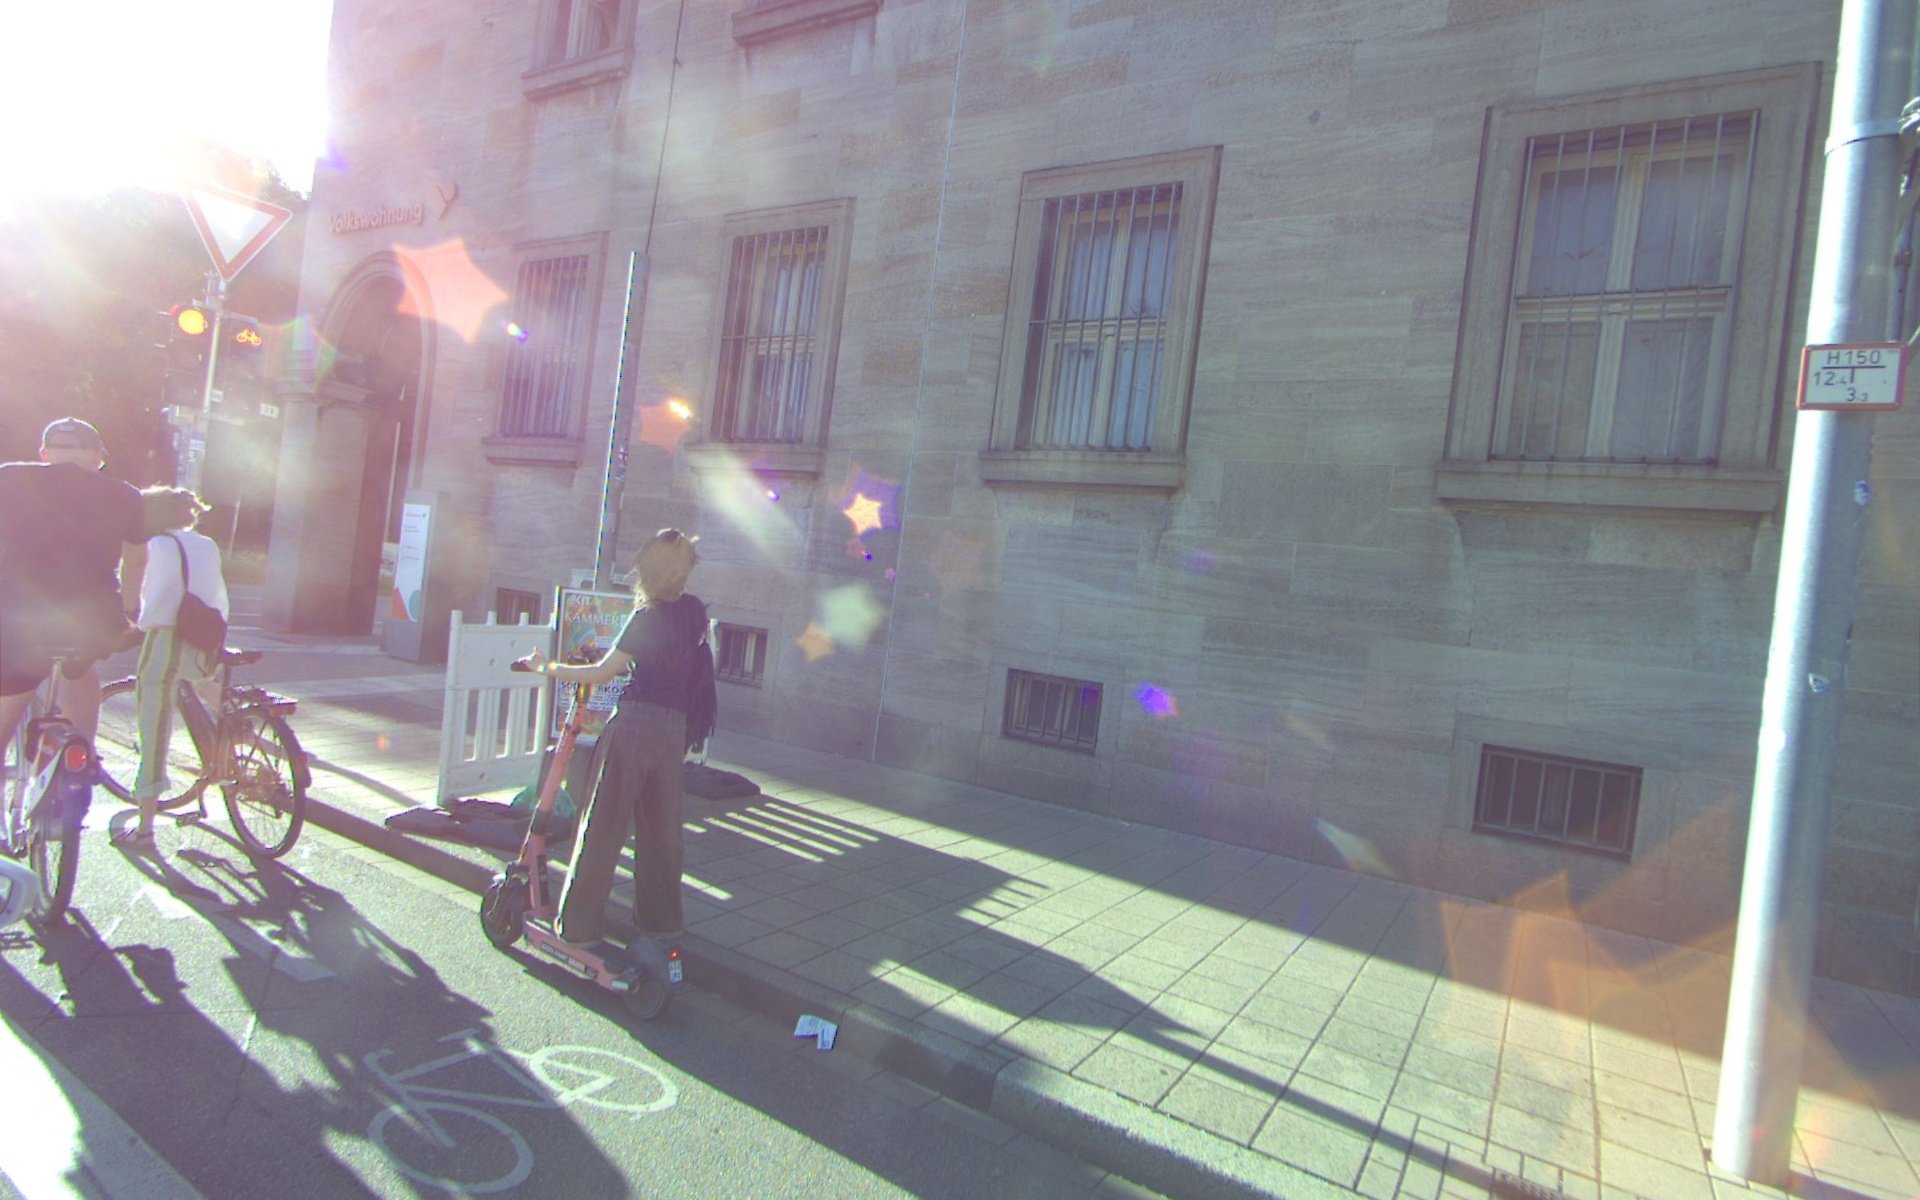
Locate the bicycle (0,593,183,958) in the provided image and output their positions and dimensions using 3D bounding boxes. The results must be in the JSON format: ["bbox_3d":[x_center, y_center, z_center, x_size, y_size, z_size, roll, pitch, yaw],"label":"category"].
[{"bbox_3d":[-3.740,0.578,3.920,1.700,1.090,0.516,7,-1,34],"label":"bicycle"}]

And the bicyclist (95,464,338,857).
[{"bbox_3d":[-3.537,0.269,4.799,0.629,1.711,0.558,7,-1,30],"label":"bicyclist"}]

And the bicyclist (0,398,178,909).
[{"bbox_3d":[-3.551,0.196,3.849,0.541,1.820,0.559,7,-1,33],"label":"bicyclist"}]

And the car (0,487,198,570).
[{"bbox_3d":[-23.373,-1.892,27.192,1.623,1.630,3.999,7,-1,31],"label":"car"}]

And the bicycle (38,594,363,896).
[{"bbox_3d":[-3.684,0.625,4.837,1.721,1.090,0.535,7,-1,31],"label":"bicycle"}]

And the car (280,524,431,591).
[{"bbox_3d":[-19.787,-1.359,33.076,1.623,1.630,3.854,7,-1,31],"label":"car"}]

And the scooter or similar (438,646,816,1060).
[{"bbox_3d":[-1.297,0.864,3.855,1.305,1.199,0.535,7,0,31],"label":"scooter or similar"}]

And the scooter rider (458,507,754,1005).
[{"bbox_3d":[-1.350,0.553,3.904,0.547,1.691,0.730,7,0,31],"label":"scooter rider"}]
